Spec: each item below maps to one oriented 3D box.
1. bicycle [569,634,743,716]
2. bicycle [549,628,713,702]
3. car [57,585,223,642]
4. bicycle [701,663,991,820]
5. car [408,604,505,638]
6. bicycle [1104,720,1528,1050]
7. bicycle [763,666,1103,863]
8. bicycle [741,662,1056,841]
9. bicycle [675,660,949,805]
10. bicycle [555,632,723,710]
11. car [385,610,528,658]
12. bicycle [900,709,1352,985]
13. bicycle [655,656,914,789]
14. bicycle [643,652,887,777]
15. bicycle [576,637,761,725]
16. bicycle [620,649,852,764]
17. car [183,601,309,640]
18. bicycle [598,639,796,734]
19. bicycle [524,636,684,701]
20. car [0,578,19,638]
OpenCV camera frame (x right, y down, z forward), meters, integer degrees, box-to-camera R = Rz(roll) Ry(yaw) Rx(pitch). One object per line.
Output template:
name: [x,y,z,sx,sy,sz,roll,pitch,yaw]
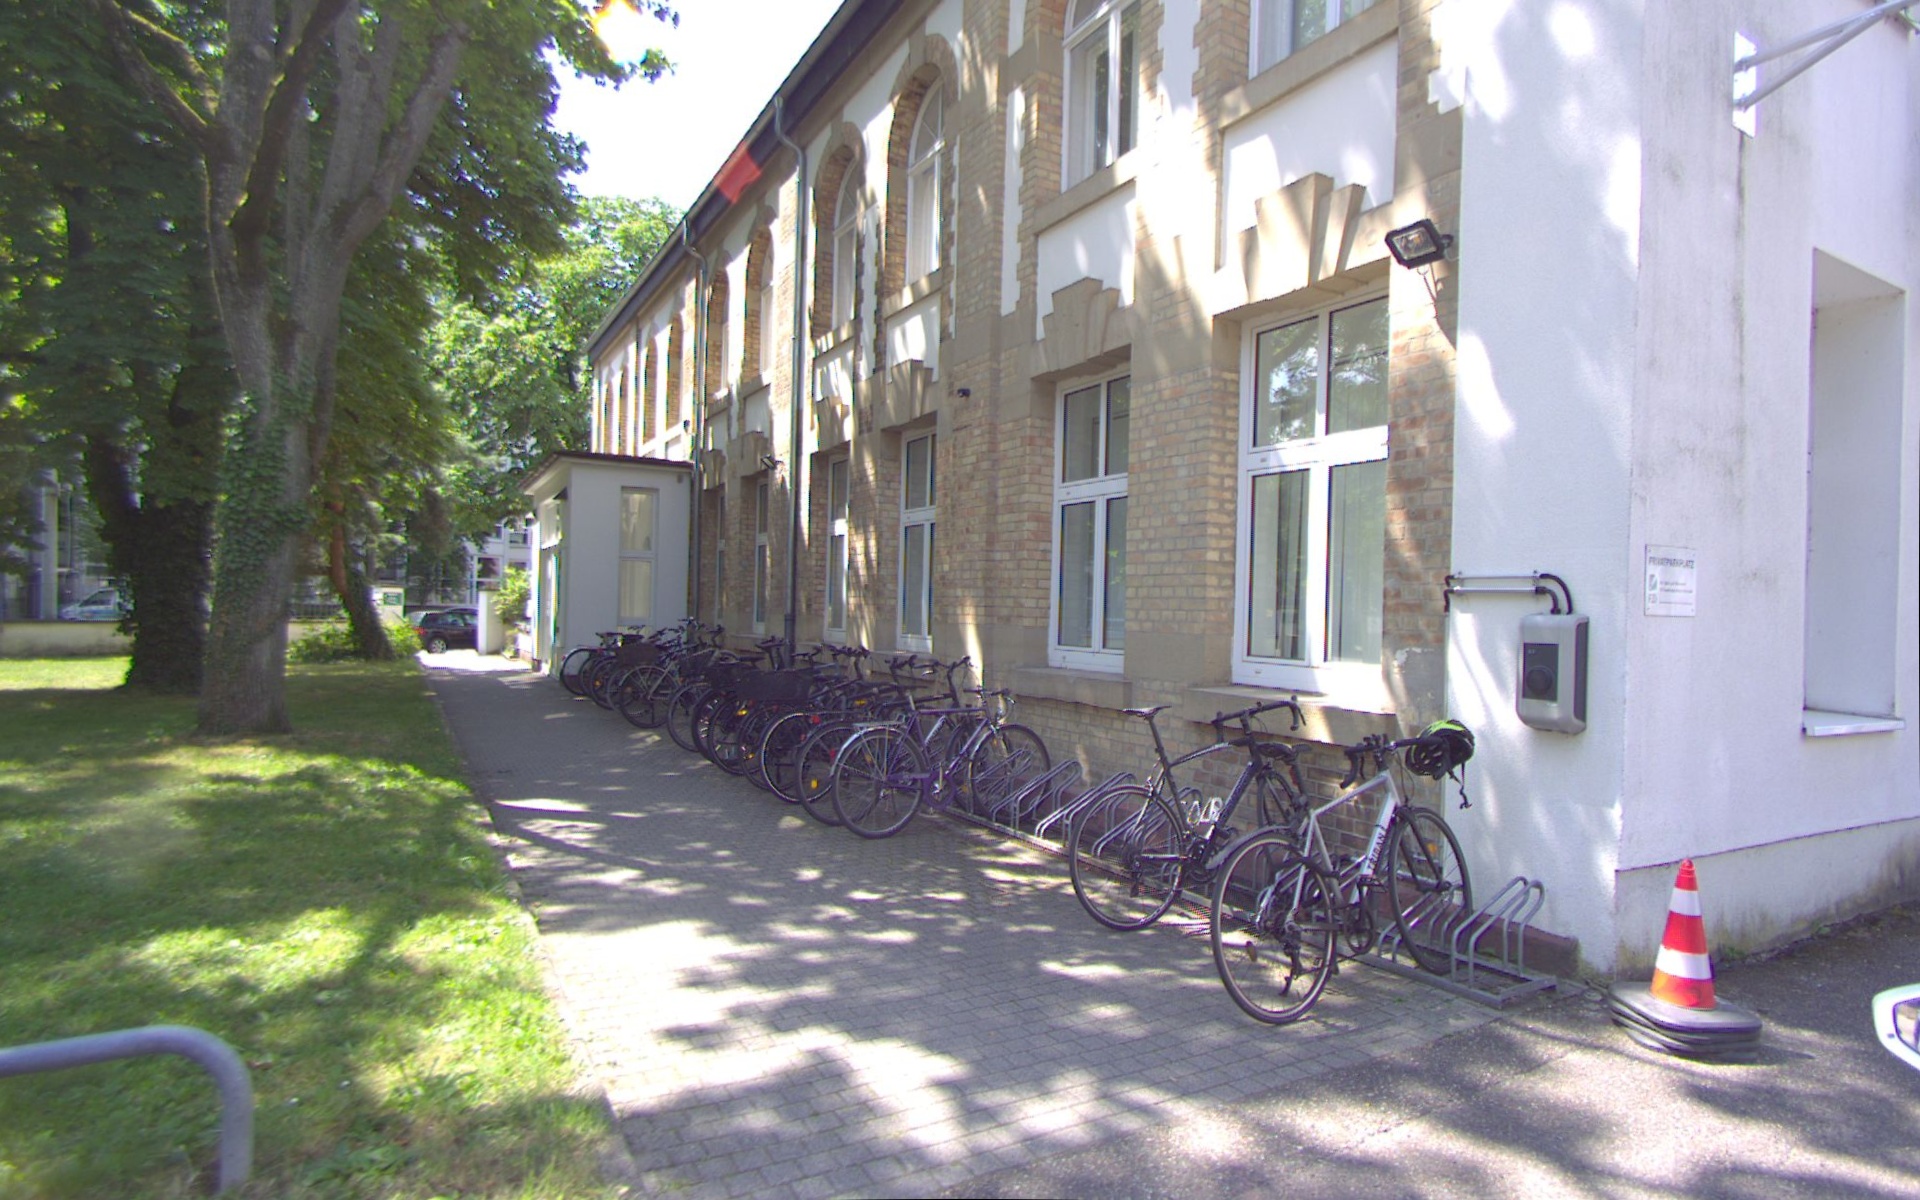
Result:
bicycle: [-4.176,1.003,13.927,2.239,1.025,0.601,1,0,-38]
bicycle: [-4.882,0.936,15.009,2.239,1.025,0.625,1,0,-38]
car: [-31.464,0.533,38.657,4.543,2.040,1.999,1,-1,-5]
bicycle: [-0.844,1.044,7.897,2.236,1.025,0.602,1,0,-34]
car: [-25.018,1.049,50.030,3.933,1.405,1.745,4,1,-14]
bicycle: [1.459,1.032,4.035,1.708,0.971,0.609,1,0,-28]
bicycle: [-0.133,1.019,6.705,2.231,1.096,0.603,1,0,-28]
bicycle: [-0.404,1.028,7.285,2.231,1.096,0.603,1,0,-28]
bicycle: [-1.192,1.049,8.448,2.236,1.025,0.602,1,0,-34]
bicycle: [-4.570,0.984,14.424,2.239,1.025,0.564,1,0,-38]
car: [-16.498,1.085,33.065,1.920,1.463,3.762,0,-1,34]
bicycle: [0.856,1.076,4.821,2.231,0.971,0.603,1,0,-28]
bicycle: [-1.526,1.041,9.020,2.236,1.025,0.602,1,0,-34]
bicycle: [-1.819,1.041,9.600,2.236,1.025,0.602,1,0,-34]
bicycle: [-3.746,1.014,13.051,2.239,1.025,0.601,1,0,-38]
bicycle: [-2.236,1.037,10.229,2.236,1.025,0.602,1,0,-34]
car: [-29.497,0.837,41.587,3.922,1.506,1.670,1,-1,-2]
bicycle: [-3.141,1.005,12.145,2.236,1.025,0.602,1,0,-34]
bicycle: [-5.484,1.033,15.574,2.239,0.902,0.648,1,0,-38]
car: [-34.677,0.226,33.351,4.551,2.040,1.995,1,-1,-13]
